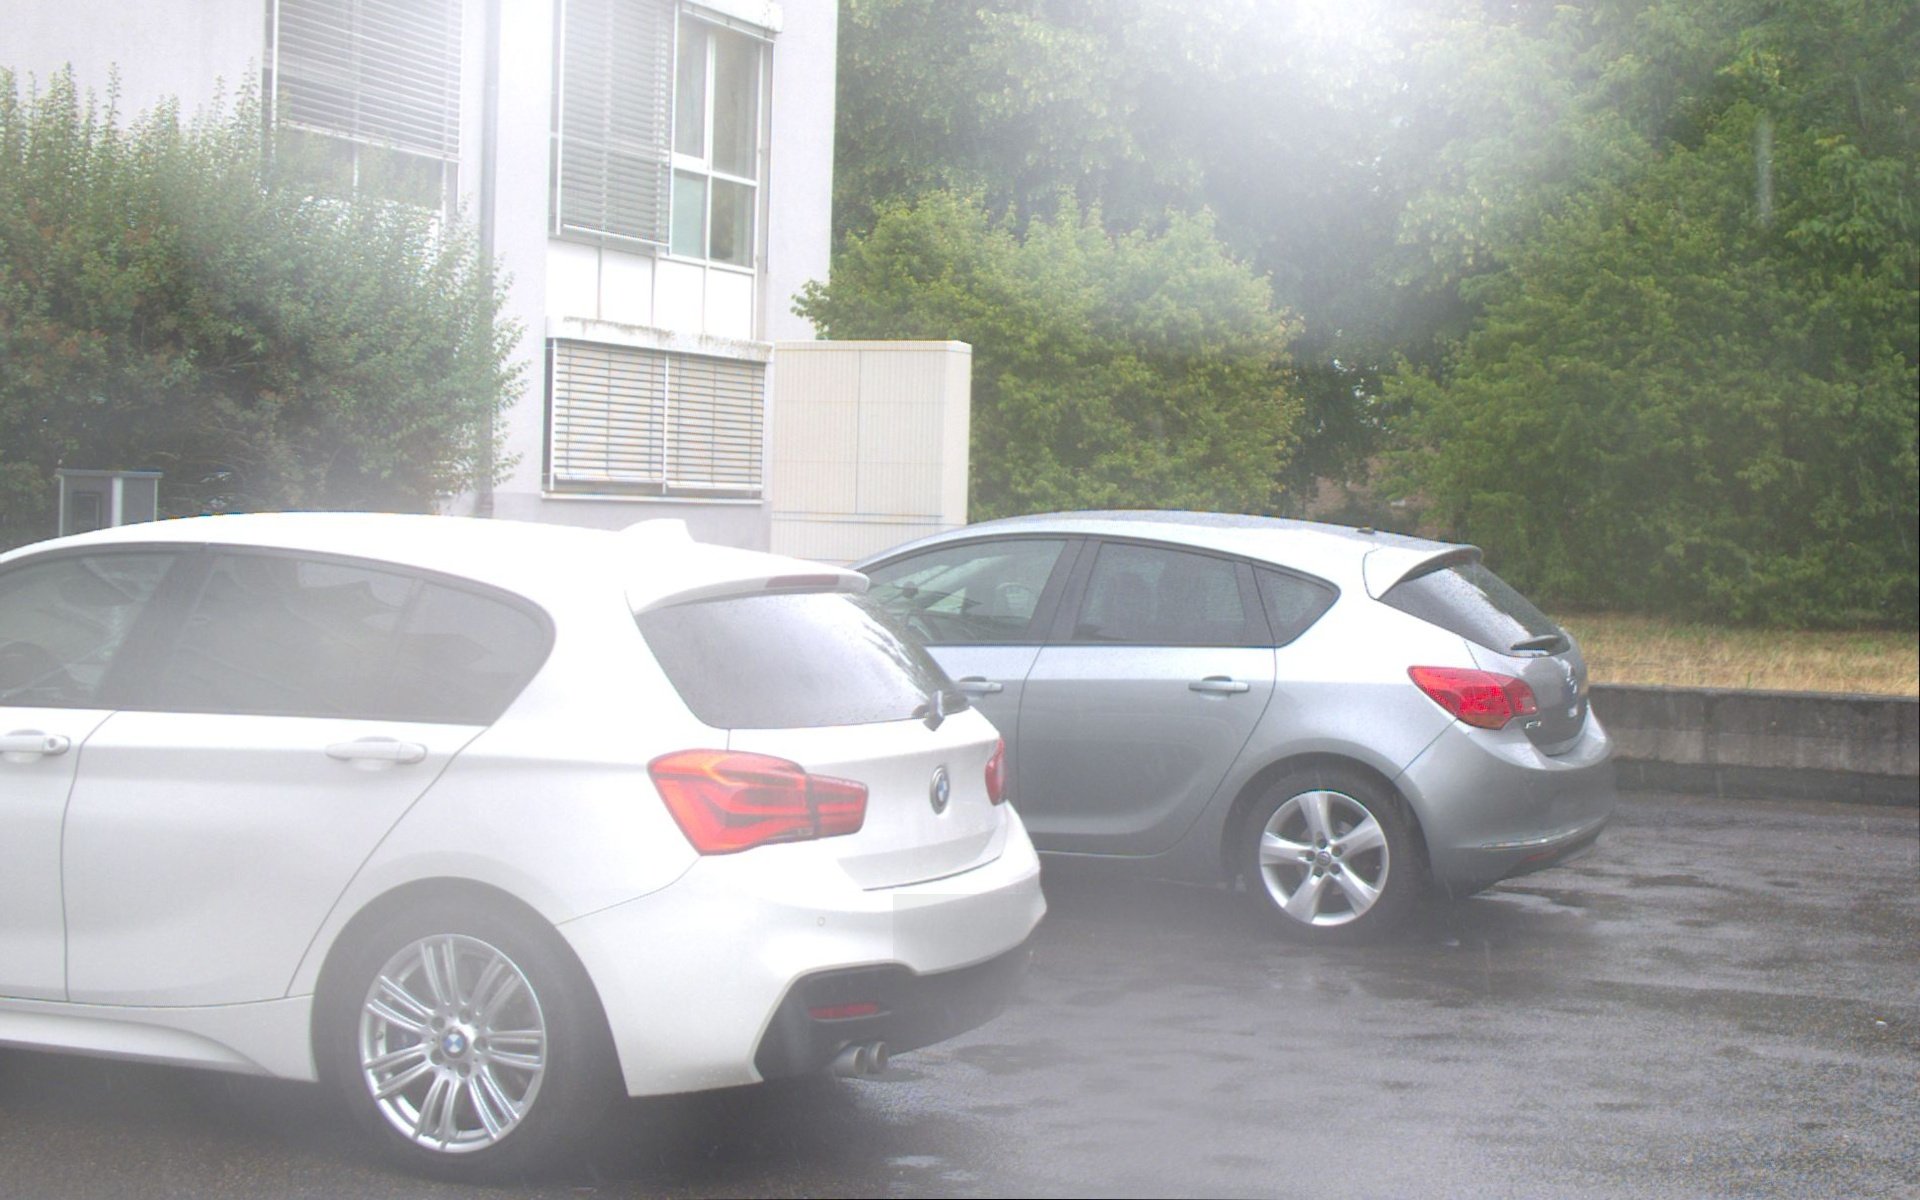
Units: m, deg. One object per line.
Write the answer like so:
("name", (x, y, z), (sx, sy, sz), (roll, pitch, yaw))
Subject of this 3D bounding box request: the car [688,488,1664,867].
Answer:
("car", (1.020, 0.282, 16.291), (4.171, 1.328, 1.820), (5, 4, 24))

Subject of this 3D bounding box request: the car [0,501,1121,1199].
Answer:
("car", (-1.867, 0.490, 8.567), (4.144, 1.428, 1.751), (3, 1, 22))

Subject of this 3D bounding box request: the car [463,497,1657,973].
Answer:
("car", (0.386, 0.407, 13.183), (4.170, 1.478, 1.820), (3, 2, 22))
